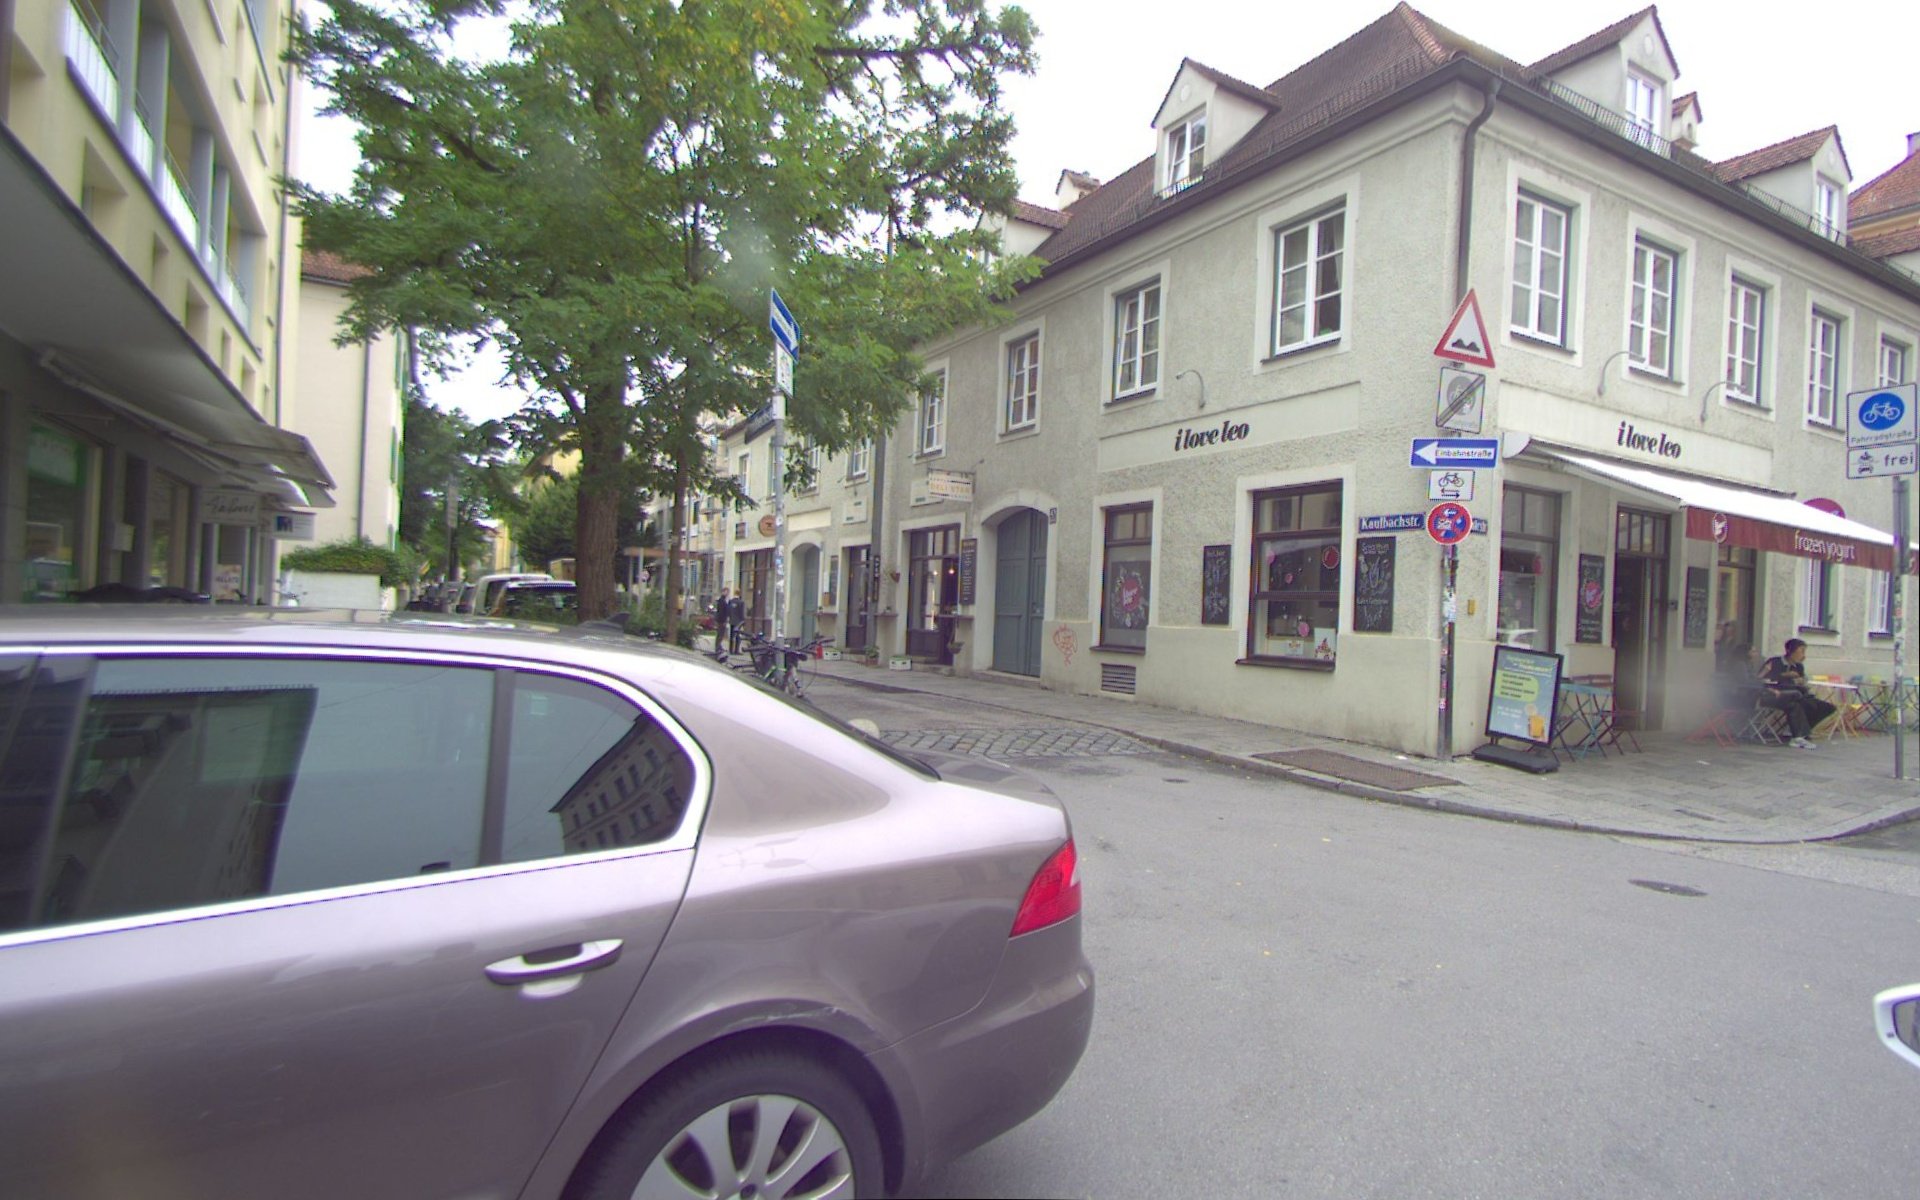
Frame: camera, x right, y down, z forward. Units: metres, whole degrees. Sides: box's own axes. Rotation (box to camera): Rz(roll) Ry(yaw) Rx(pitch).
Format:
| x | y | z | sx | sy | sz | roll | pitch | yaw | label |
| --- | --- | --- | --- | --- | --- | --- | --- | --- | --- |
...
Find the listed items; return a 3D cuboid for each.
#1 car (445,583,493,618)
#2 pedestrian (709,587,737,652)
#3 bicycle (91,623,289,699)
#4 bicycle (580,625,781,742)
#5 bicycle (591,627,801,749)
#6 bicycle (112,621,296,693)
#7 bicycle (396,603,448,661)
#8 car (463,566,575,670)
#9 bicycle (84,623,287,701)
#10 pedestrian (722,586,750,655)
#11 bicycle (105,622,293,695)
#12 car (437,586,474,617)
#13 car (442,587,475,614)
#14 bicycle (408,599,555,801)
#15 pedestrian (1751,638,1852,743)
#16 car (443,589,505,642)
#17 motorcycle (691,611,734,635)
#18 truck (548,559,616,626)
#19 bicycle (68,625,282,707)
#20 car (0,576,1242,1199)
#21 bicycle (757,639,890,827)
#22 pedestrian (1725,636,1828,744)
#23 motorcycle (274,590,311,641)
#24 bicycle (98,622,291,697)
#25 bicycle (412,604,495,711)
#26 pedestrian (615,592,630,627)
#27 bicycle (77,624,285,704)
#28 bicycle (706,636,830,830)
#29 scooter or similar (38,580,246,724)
| x | y | z | sx | sy | sz | roll | pitch | yaw | label |
| --- | --- | --- | --- | --- | --- | --- | --- | --- | --- |
| -23.795 | 0.022 | 48.686 | 1.970 | 1.617 | 4.140 | -1 | 1 | -26 | car |
| -6.533 | 0.546 | 27.692 | 0.524 | 1.752 | 0.552 | 4 | -2 | -31 | pedestrian |
| -8.616 | 0.697 | 11.311 | 1.703 | 0.790 | 0.290 | 4 | -2 | -31 | bicycle |
| -2.544 | 0.771 | 9.251 | 1.698 | 0.978 | 0.377 | 4 | 0 | -33 | bicycle |
| -2.290 | 0.775 | 8.829 | 1.698 | 0.978 | 0.377 | 4 | 0 | -33 | bicycle |
| -9.056 | 0.697 | 12.095 | 1.703 | 0.790 | 0.290 | 4 | -2 | -31 | bicycle |
| -11.459 | 0.660 | 21.449 | 0.807 | 1.117 | 2.359 | 4 | -1 | -25 | bicycle |
| -9.110 | 0.307 | 20.590 | 1.882 | 1.870 | 4.432 | -1 | 1 | -26 | car |
| -8.466 | 0.698 | 11.051 | 1.703 | 0.790 | 0.290 | 4 | -2 | -31 | bicycle |
| -6.042 | 0.549 | 27.046 | 0.524 | 1.809 | 0.487 | 4 | -2 | -31 | pedestrian |
| -8.912 | 0.697 | 11.831 | 1.703 | 0.790 | 0.290 | 4 | -2 | -31 | bicycle |
| -28.078 | 0.078 | 55.948 | 1.752 | 1.617 | 4.140 | -1 | 1 | -26 | car |
| -30.836 | 0.029 | 61.793 | 1.752 | 1.617 | 4.140 | -1 | 1 | -26 | car |
| -3.744 | 0.665 | 7.905 | 0.807 | 1.227 | 2.833 | 4 | 0 | -25 | bicycle |
| 11.084 | 1.176 | 13.243 | 0.685 | 1.307 | 0.800 | 4 | -2 | -28 | pedestrian |
| -16.326 | 0.479 | 33.759 | 1.752 | 1.617 | 4.140 | -1 | 1 | -26 | car |
| -9.989 | 0.939 | 40.542 | 1.618 | 0.885 | 0.410 | 4 | -2 | -31 | motorcycle |
| -20.339 | -0.376 | 53.811 | 2.548 | 3.236 | 6.692 | 4 | -2 | -27 | truck |
| -8.167 | 0.703 | 10.530 | 1.703 | 0.790 | 0.290 | 4 | -2 | -31 | bicycle |
| -1.824 | 0.721 | 1.887 | 4.895 | 1.491 | 1.670 | 2 | -2 | -32 | car |
| -1.024 | 0.865 | 7.157 | 0.386 | 1.049 | 1.812 | 1 | 2 | -25 | bicycle |
| 10.465 | 1.136 | 12.887 | 0.685 | 1.307 | 0.800 | 4 | -2 | -28 | pedestrian |
| -15.706 | 0.351 | 23.651 | 0.456 | 1.099 | 1.833 | 4 | 0 | -27 | motorcycle |
| -8.768 | 0.697 | 11.574 | 1.703 | 0.790 | 0.290 | 4 | -2 | -31 | bicycle |
| -6.484 | 0.718 | 12.946 | 0.807 | 1.227 | 2.359 | 4 | -3 | -25 | bicycle |
| -17.258 | 0.490 | 51.372 | 0.550 | 1.752 | 0.527 | 4 | -1 | -28 | pedestrian |
| -8.310 | 0.699 | 10.790 | 1.703 | 0.790 | 0.290 | 4 | -2 | -31 | bicycle |
| -1.380 | 0.841 | 6.979 | 0.386 | 1.049 | 1.812 | 1 | 2 | -25 | bicycle |
| -7.658 | 0.473 | 9.437 | 1.180 | 1.217 | 0.999 | 2 | -2 | 21 | scooter or similar |
